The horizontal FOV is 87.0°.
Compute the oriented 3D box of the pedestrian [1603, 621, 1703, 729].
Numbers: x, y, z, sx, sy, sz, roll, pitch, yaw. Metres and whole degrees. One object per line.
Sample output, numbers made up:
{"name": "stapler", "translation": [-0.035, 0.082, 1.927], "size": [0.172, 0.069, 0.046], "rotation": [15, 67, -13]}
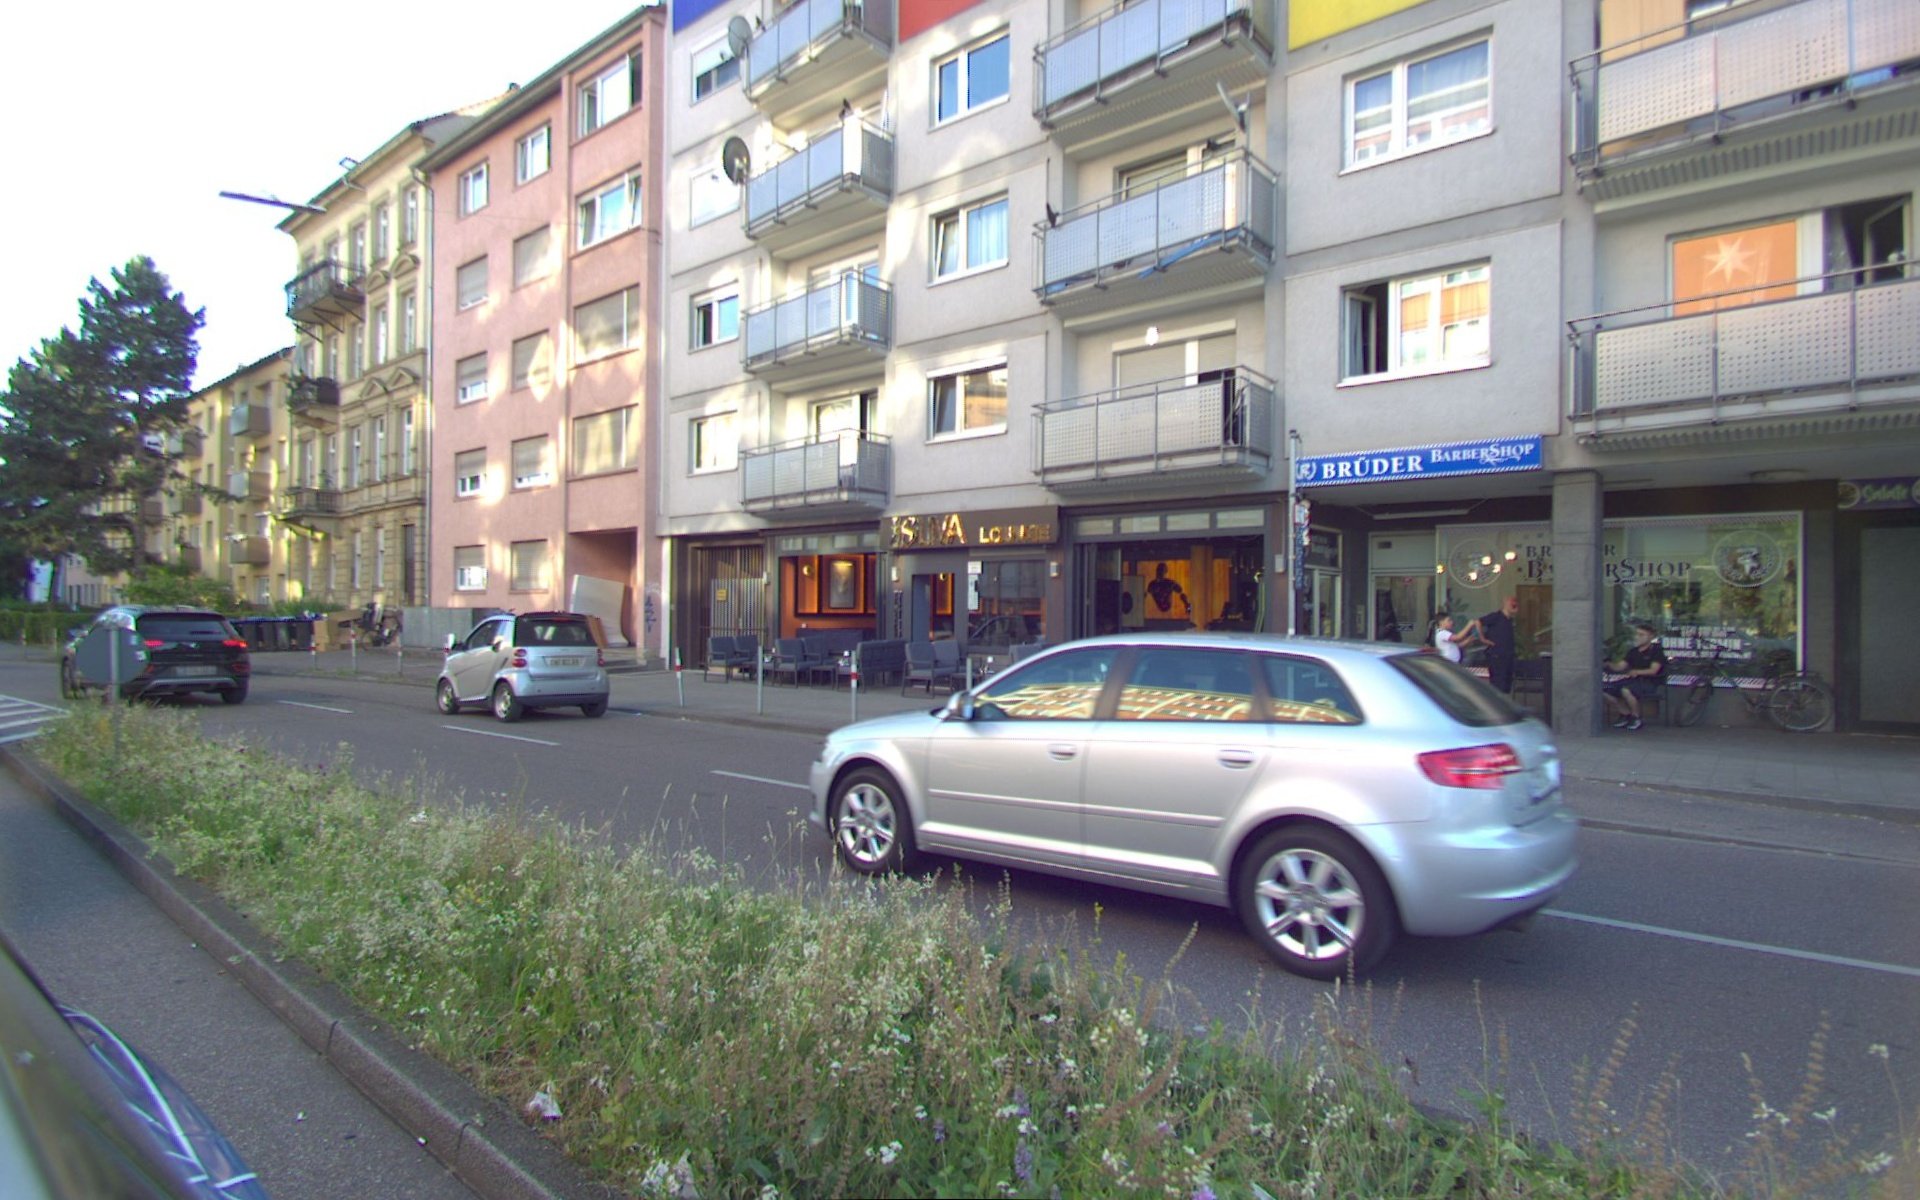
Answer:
{"name": "pedestrian", "translation": [8.688, 0.923, 12.712], "size": [0.798, 1.323, 0.626], "rotation": [0, -1, -3]}

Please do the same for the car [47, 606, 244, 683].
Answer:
{"name": "car", "translation": [-18.803, 0.998, 23.376], "size": [4.072, 1.641, 1.713], "rotation": [0, -2, 21]}

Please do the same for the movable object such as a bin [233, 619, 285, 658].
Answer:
{"name": "movable object such as a bin", "translation": [-22.894, 1.248, 33.078], "size": [0.837, 1.242, 1.193], "rotation": [0, -1, 1]}

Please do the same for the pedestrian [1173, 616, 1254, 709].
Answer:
{"name": "pedestrian", "translation": [3.876, 0.925, 15.465], "size": [0.882, 1.357, 0.961], "rotation": [-1, -1, 40]}

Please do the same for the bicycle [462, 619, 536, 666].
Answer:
{"name": "bicycle", "translation": [-12.260, 1.108, 26.951], "size": [0.473, 1.200, 1.758], "rotation": [-1, -1, 38]}

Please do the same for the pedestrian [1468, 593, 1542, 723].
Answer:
{"name": "pedestrian", "translation": [7.238, 0.752, 13.457], "size": [0.650, 1.685, 0.625], "rotation": [0, -1, 5]}

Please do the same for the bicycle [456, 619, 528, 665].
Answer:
{"name": "bicycle", "translation": [-12.648, 1.109, 27.389], "size": [0.473, 1.200, 1.758], "rotation": [-1, -1, 38]}

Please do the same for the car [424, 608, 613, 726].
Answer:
{"name": "car", "translation": [-6.723, 0.965, 15.354], "size": [2.806, 1.605, 1.519], "rotation": [-1, -3, 40]}

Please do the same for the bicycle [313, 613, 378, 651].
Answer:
{"name": "bicycle", "translation": [-20.089, 1.042, 33.125], "size": [0.473, 1.200, 1.758], "rotation": [-1, -1, 38]}

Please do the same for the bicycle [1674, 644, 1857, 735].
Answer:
{"name": "bicycle", "translation": [9.866, 1.066, 12.473], "size": [1.692, 1.006, 0.620], "rotation": [0, -1, 32]}

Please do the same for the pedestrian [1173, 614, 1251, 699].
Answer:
{"name": "pedestrian", "translation": [4.180, 0.915, 16.778], "size": [0.974, 1.357, 0.871], "rotation": [-1, -1, 40]}

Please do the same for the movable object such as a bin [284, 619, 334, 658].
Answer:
{"name": "movable object such as a bin", "translation": [-21.039, 1.232, 32.740], "size": [0.837, 1.242, 1.193], "rotation": [0, -1, 1]}

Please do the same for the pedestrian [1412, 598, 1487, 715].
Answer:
{"name": "pedestrian", "translation": [6.387, 0.719, 13.214], "size": [0.648, 1.478, 0.627], "rotation": [1, -1, -34]}

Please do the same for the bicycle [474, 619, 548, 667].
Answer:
{"name": "bicycle", "translation": [-11.718, 1.098, 26.457], "size": [0.473, 1.200, 1.758], "rotation": [-1, -1, 38]}

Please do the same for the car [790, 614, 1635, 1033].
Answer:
{"name": "car", "translation": [1.091, 0.828, 5.460], "size": [4.098, 1.436, 1.691], "rotation": [-1, -3, 40]}

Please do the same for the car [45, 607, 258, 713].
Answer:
{"name": "car", "translation": [-13.437, 0.934, 16.761], "size": [4.093, 1.556, 1.660], "rotation": [-1, -3, 35]}

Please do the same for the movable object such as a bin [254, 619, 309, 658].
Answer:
{"name": "movable object such as a bin", "translation": [-21.968, 1.239, 32.792], "size": [0.916, 1.242, 1.292], "rotation": [0, -1, 1]}
